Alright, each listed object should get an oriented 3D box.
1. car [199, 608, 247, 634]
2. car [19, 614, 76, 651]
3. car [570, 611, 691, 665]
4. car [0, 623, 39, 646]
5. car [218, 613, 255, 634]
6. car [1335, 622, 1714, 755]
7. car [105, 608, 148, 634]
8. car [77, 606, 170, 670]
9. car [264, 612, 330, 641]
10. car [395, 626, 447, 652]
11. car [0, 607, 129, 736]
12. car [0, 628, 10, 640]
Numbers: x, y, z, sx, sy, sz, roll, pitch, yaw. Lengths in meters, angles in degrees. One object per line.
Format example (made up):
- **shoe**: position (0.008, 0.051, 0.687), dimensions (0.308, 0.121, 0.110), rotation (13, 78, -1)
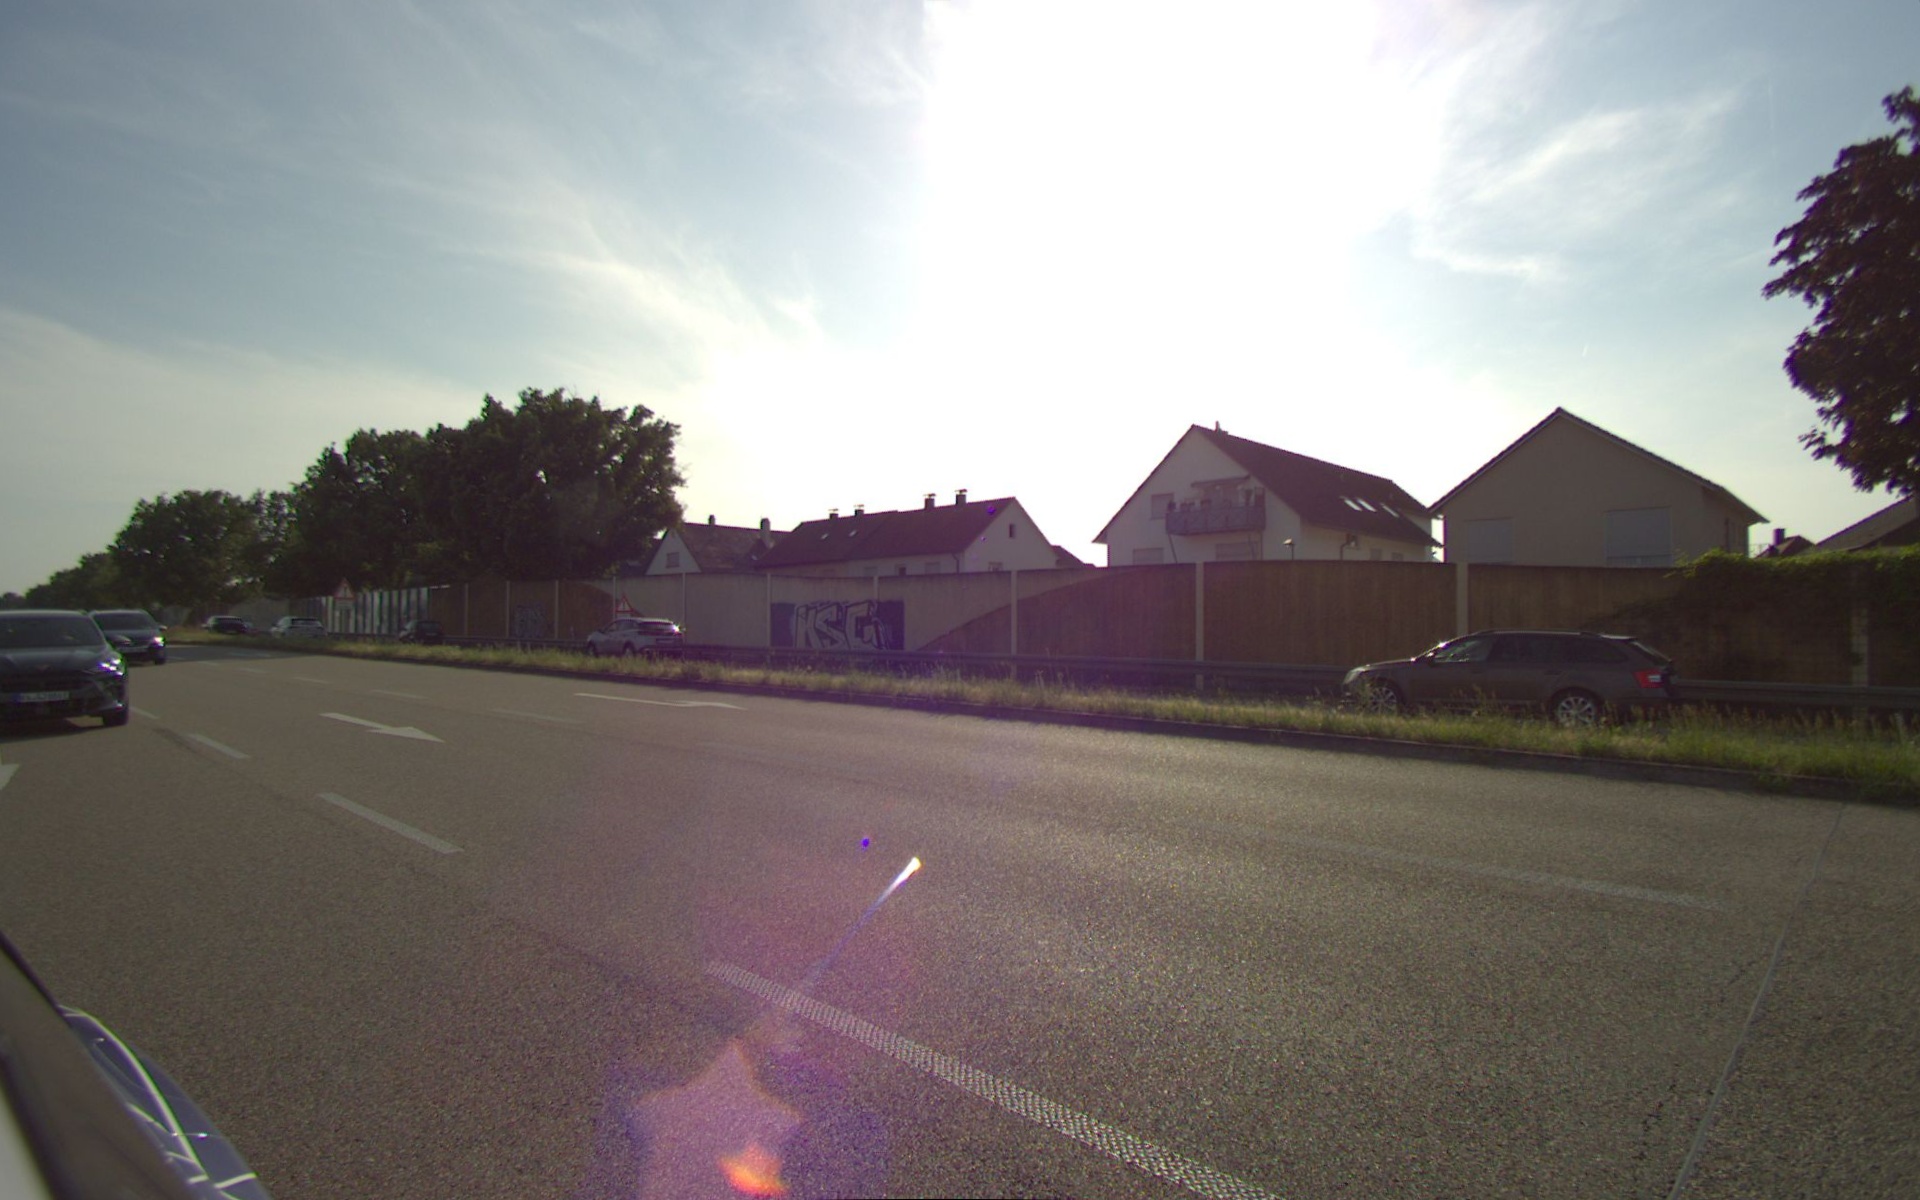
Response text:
- **car**: position (-48.367, 1.370, 66.352), dimensions (4.924, 1.637, 1.712), rotation (-1, 0, 44)
- **car**: position (-43.586, 1.530, 48.317), dimensions (4.002, 1.683, 1.797), rotation (-1, 0, 45)
- **car**: position (-11.339, 1.271, 34.669), dimensions (4.591, 1.678, 1.955), rotation (-1, 0, 44)
- **car**: position (-65.132, 2.357, 70.033), dimensions (4.001, 1.519, 1.785), rotation (-1, 0, 44)
- **car**: position (-57.352, 1.838, 80.235), dimensions (1.632, 1.579, 4.714), rotation (-1, 0, -45)
- **car**: position (8.272, 1.184, 15.181), dimensions (1.702, 1.640, 4.661), rotation (-1, 0, -44)
- **car**: position (-79.390, 1.983, 96.382), dimensions (7.193, 2.321, 2.322), rotation (-1, 0, 44)
- **car**: position (-25.277, 1.100, 30.537), dimensions (1.797, 1.747, 4.002), rotation (-1, 0, -45)
- **car**: position (-33.933, 1.337, 51.754), dimensions (4.715, 1.331, 1.852), rotation (-1, 0, 44)
- **car**: position (-26.768, 1.928, 50.195), dimensions (1.457, 1.172, 3.063), rotation (-1, 0, -45)
- **car**: position (-12.934, 0.913, 14.004), dimensions (1.796, 1.536, 4.249), rotation (-1, 0, -45)
- **car**: position (-101.698, 3.579, 107.047), dimensions (3.650, 1.165, 1.476), rotation (-1, 0, 44)
